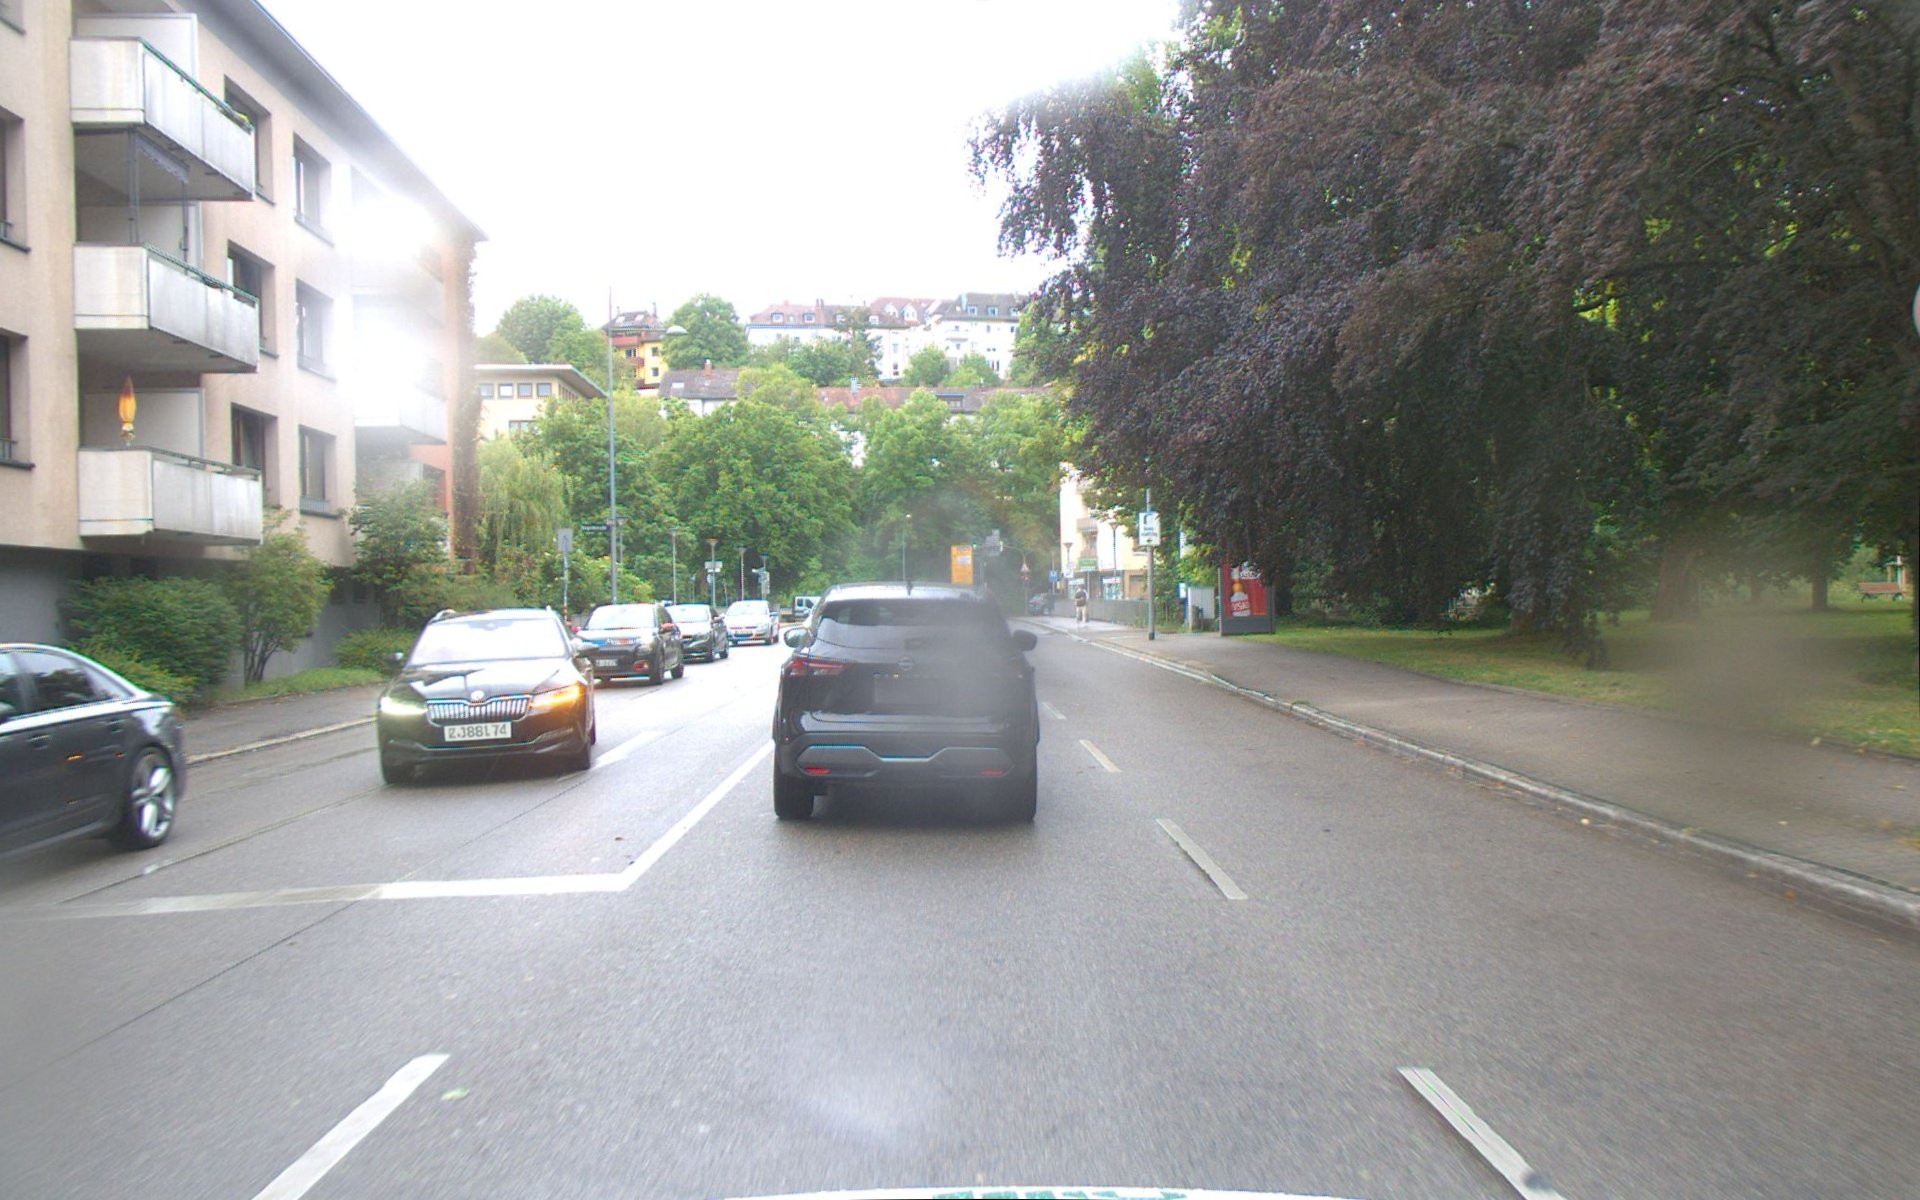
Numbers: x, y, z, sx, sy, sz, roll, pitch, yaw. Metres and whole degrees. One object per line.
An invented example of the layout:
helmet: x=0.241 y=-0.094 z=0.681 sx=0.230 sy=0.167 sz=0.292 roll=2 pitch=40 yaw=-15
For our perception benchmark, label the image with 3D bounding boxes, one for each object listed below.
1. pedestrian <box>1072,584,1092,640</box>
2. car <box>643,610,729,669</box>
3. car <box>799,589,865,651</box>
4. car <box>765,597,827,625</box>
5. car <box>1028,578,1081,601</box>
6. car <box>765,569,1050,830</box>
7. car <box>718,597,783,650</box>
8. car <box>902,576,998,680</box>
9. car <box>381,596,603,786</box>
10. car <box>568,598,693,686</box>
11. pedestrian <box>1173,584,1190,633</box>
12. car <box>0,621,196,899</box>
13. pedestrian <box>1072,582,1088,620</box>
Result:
pedestrian: x=4.945 y=0.492 z=67.156 sx=0.752 sy=2.222 sz=0.711 roll=1 pitch=-1 yaw=2
car: x=-6.904 y=0.964 z=42.010 sx=1.643 sy=1.318 sz=3.750 roll=-3 pitch=0 yaw=-2
car: x=-3.920 y=0.593 z=50.971 sx=1.728 sy=1.788 sz=3.634 roll=-2 pitch=0 yaw=-1
car: x=-13.101 y=0.857 z=132.394 sx=4.537 sy=2.035 sz=2.002 roll=-2 pitch=0 yaw=10
car: x=7.707 y=-0.853 z=134.545 sx=3.916 sy=1.713 sz=1.994 roll=-2 pitch=0 yaw=-12
car: x=-0.365 y=0.649 z=12.409 sx=1.769 sy=1.618 sz=3.999 roll=1 pitch=-1 yaw=-1
car: x=-7.014 y=0.770 z=55.644 sx=1.714 sy=1.662 sz=3.634 roll=-2 pitch=0 yaw=-1
car: x=-0.155 y=0.488 z=30.496 sx=1.588 sy=1.738 sz=3.771 roll=-2 pitch=0 yaw=1
car: x=-4.375 y=0.773 z=16.000 sx=1.717 sy=1.495 sz=4.204 roll=-3 pitch=0 yaw=-12
car: x=-6.261 y=0.757 z=31.859 sx=1.643 sy=1.495 sz=4.215 roll=-3 pitch=0 yaw=-2
pedestrian: x=7.595 y=0.297 z=56.732 sx=0.533 sy=1.680 sz=0.490 roll=1 pitch=-1 yaw=13
car: x=-6.182 y=0.938 z=9.447 sx=1.740 sy=1.495 sz=4.215 roll=-3 pitch=0 yaw=-2
pedestrian: x=5.835 y=0.059 z=80.429 sx=0.606 sy=1.810 sz=0.778 roll=-2 pitch=0 yaw=-1
